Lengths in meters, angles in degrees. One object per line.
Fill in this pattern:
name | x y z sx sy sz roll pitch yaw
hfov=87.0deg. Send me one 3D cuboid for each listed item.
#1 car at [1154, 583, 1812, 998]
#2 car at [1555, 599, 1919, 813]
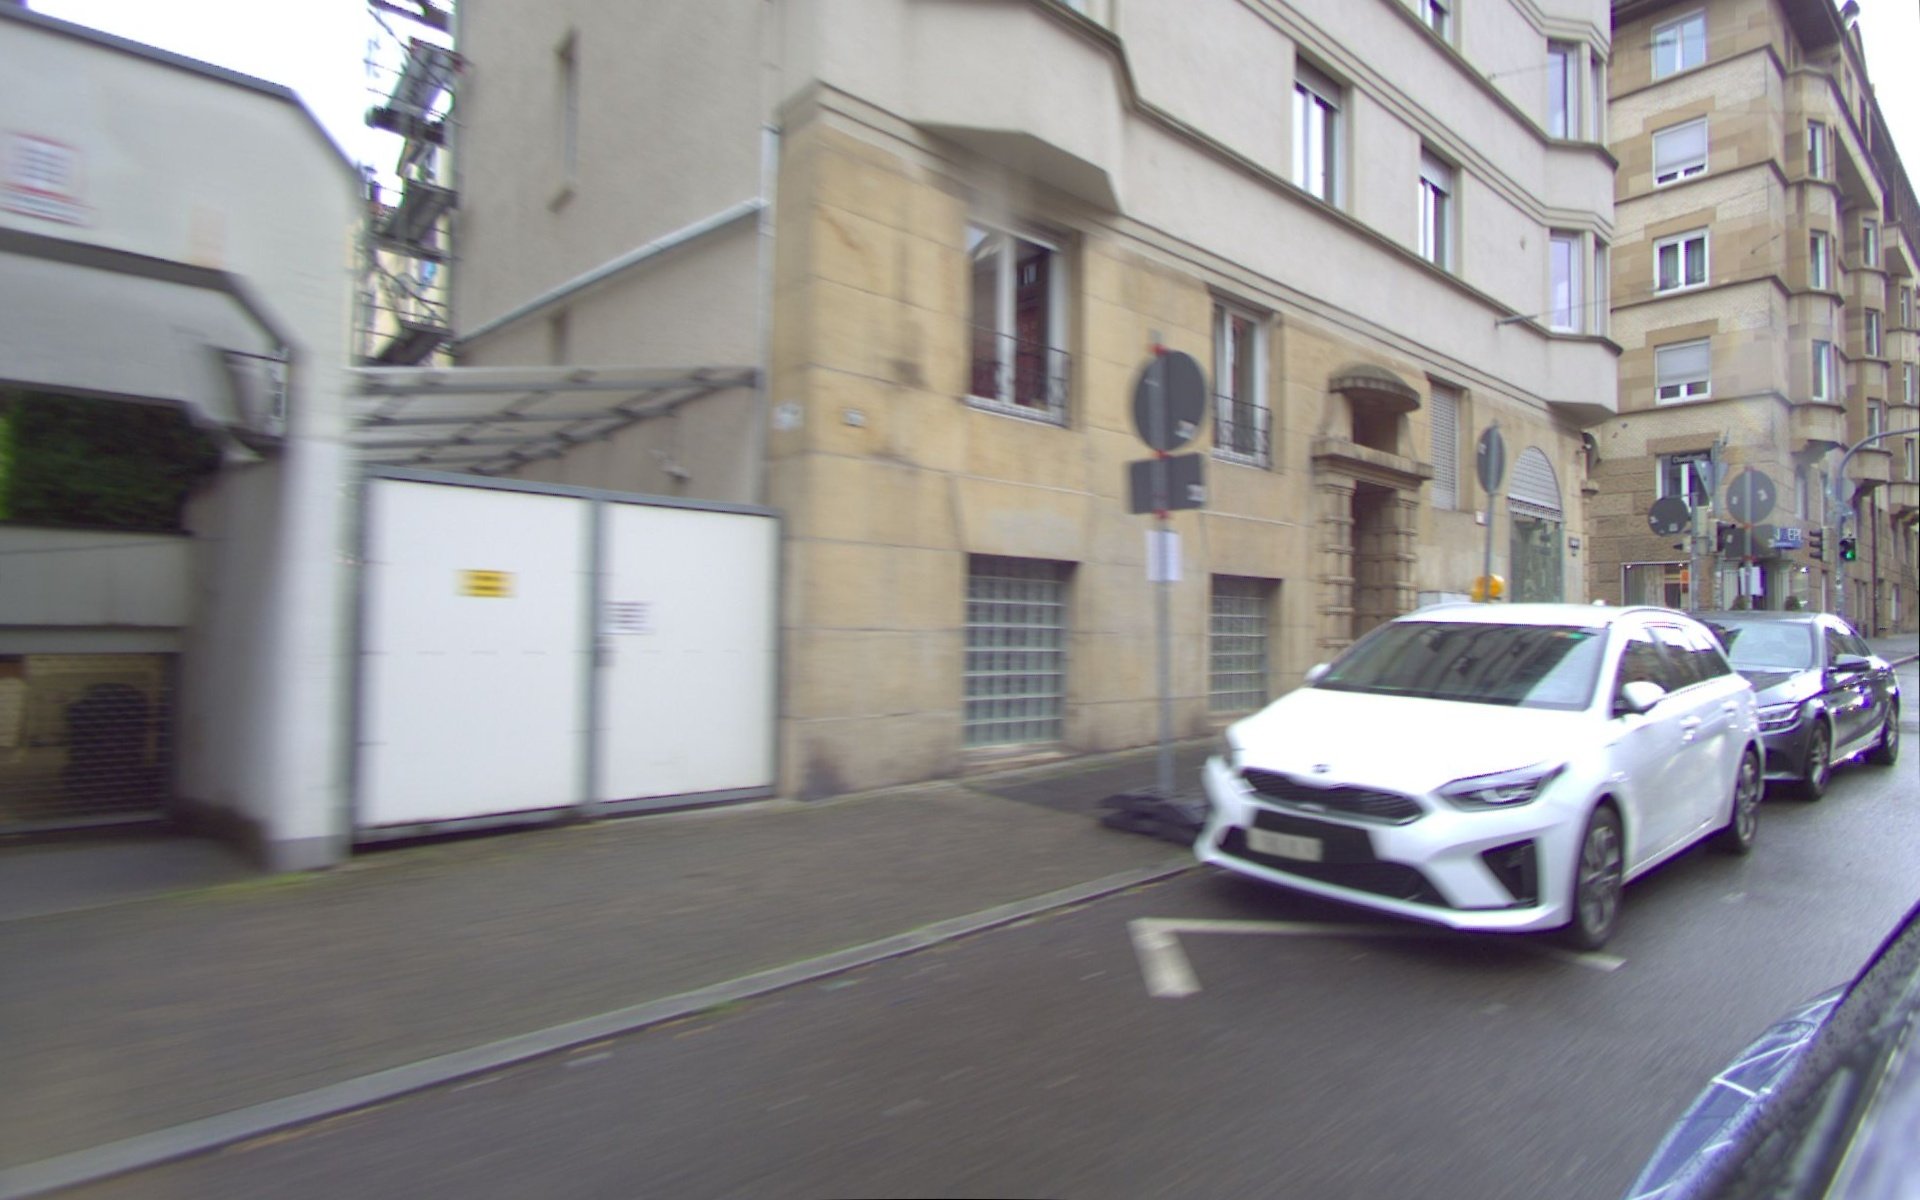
car | 3.288 0.655 5.823 4.689 1.486 1.715 -1 1 -40
car | 7.318 0.738 9.223 4.730 1.428 1.715 -1 1 -39
